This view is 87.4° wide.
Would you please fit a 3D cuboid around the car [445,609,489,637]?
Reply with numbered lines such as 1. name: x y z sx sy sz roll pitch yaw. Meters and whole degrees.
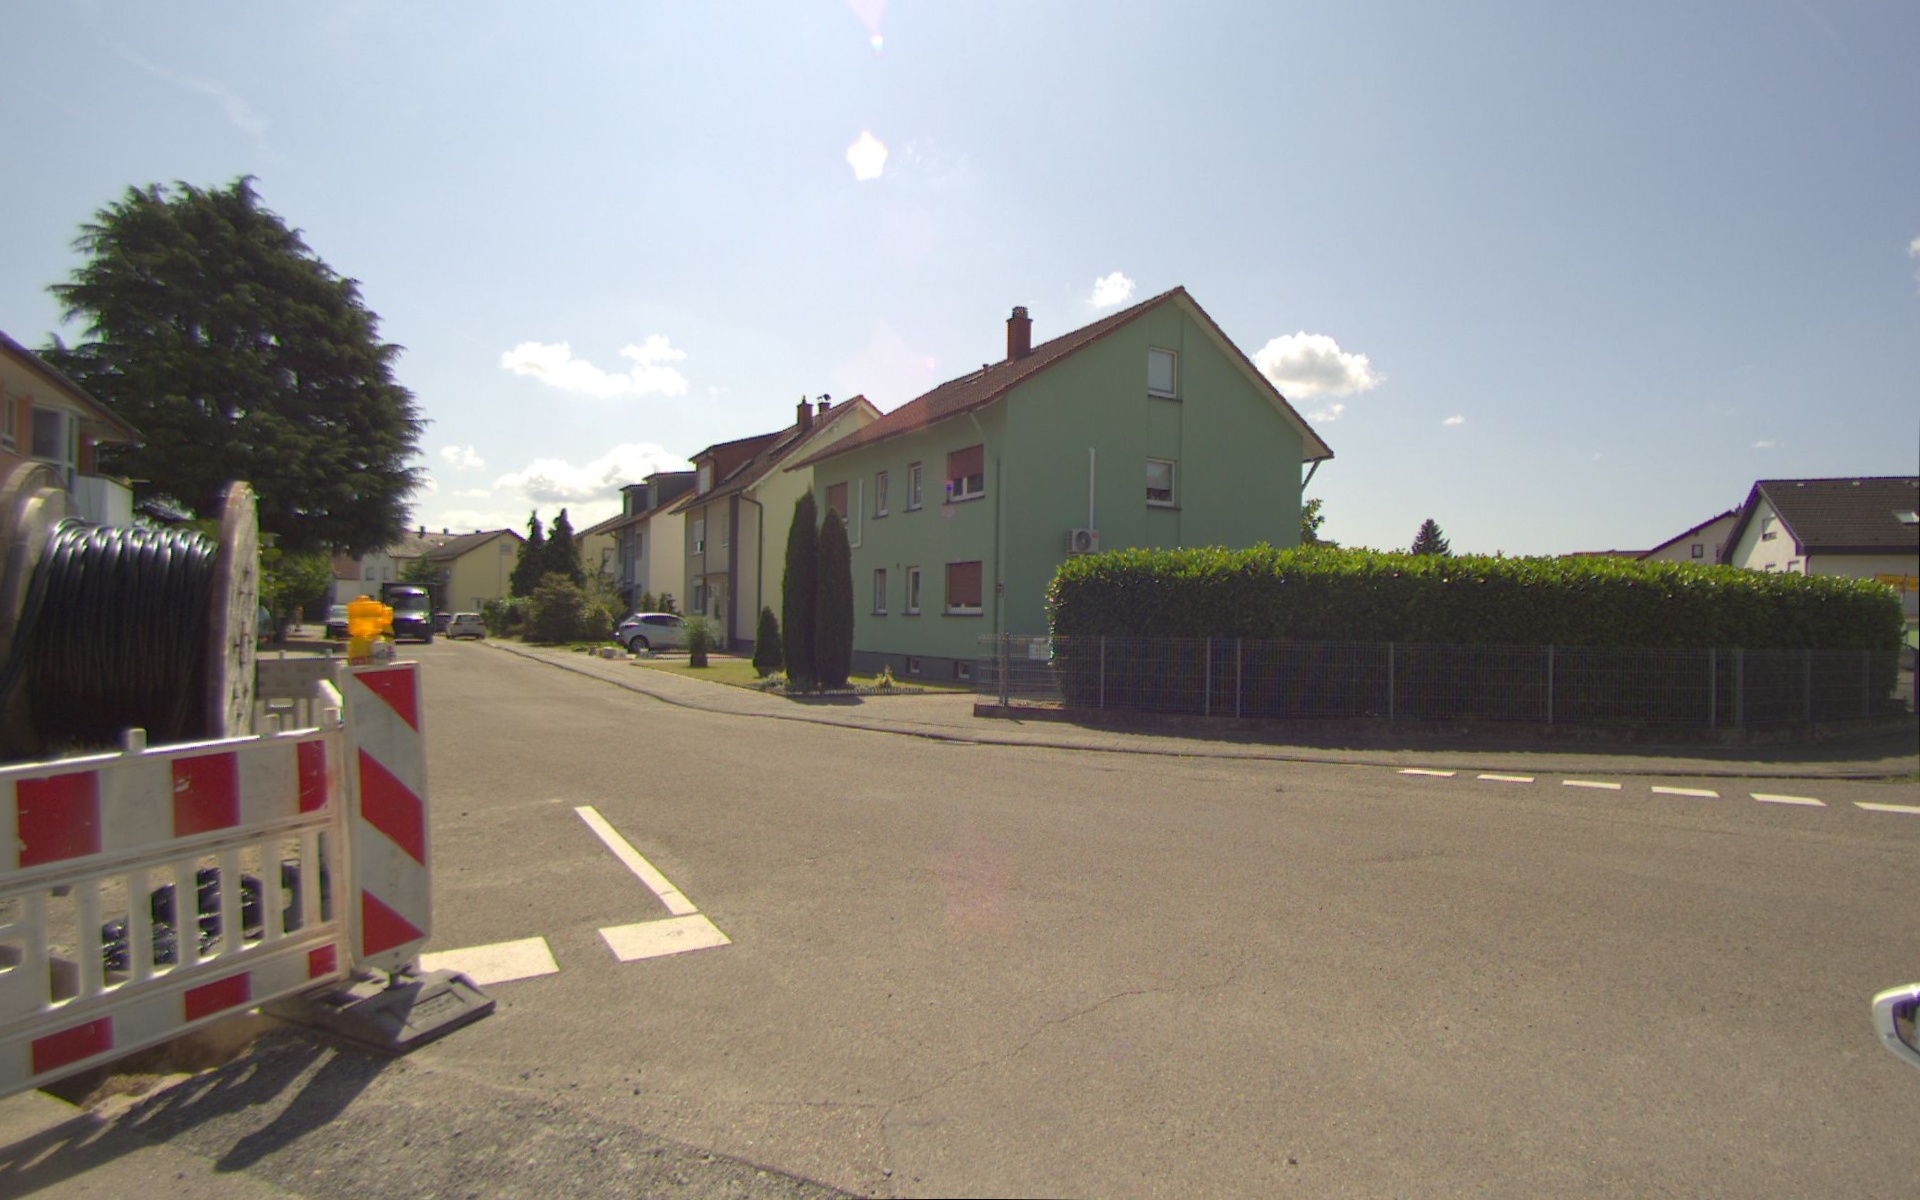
1. car: -27.915 1.275 56.830 1.795 1.515 3.964 1 -1 -33

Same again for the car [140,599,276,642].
1. car: -30.406 0.850 40.773 4.154 1.675 1.801 1 -1 -28

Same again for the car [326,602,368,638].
1. car: -32.678 1.050 53.489 1.795 1.786 4.168 1 -1 -33

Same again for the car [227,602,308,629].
1. car: -45.574 1.052 66.188 4.154 1.675 1.801 1 -1 -28

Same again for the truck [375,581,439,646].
1. truck: -26.227 0.612 47.704 2.412 2.825 7.242 -2 0 -29

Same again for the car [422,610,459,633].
1. car: -34.950 1.443 67.573 1.795 1.515 3.964 1 -1 -33

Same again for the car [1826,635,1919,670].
1. car: 40.393 2.282 43.829 3.540 1.427 1.784 1 -1 21

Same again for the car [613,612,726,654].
1. car: -11.155 1.229 38.589 3.880 1.530 1.760 1 -1 -30
